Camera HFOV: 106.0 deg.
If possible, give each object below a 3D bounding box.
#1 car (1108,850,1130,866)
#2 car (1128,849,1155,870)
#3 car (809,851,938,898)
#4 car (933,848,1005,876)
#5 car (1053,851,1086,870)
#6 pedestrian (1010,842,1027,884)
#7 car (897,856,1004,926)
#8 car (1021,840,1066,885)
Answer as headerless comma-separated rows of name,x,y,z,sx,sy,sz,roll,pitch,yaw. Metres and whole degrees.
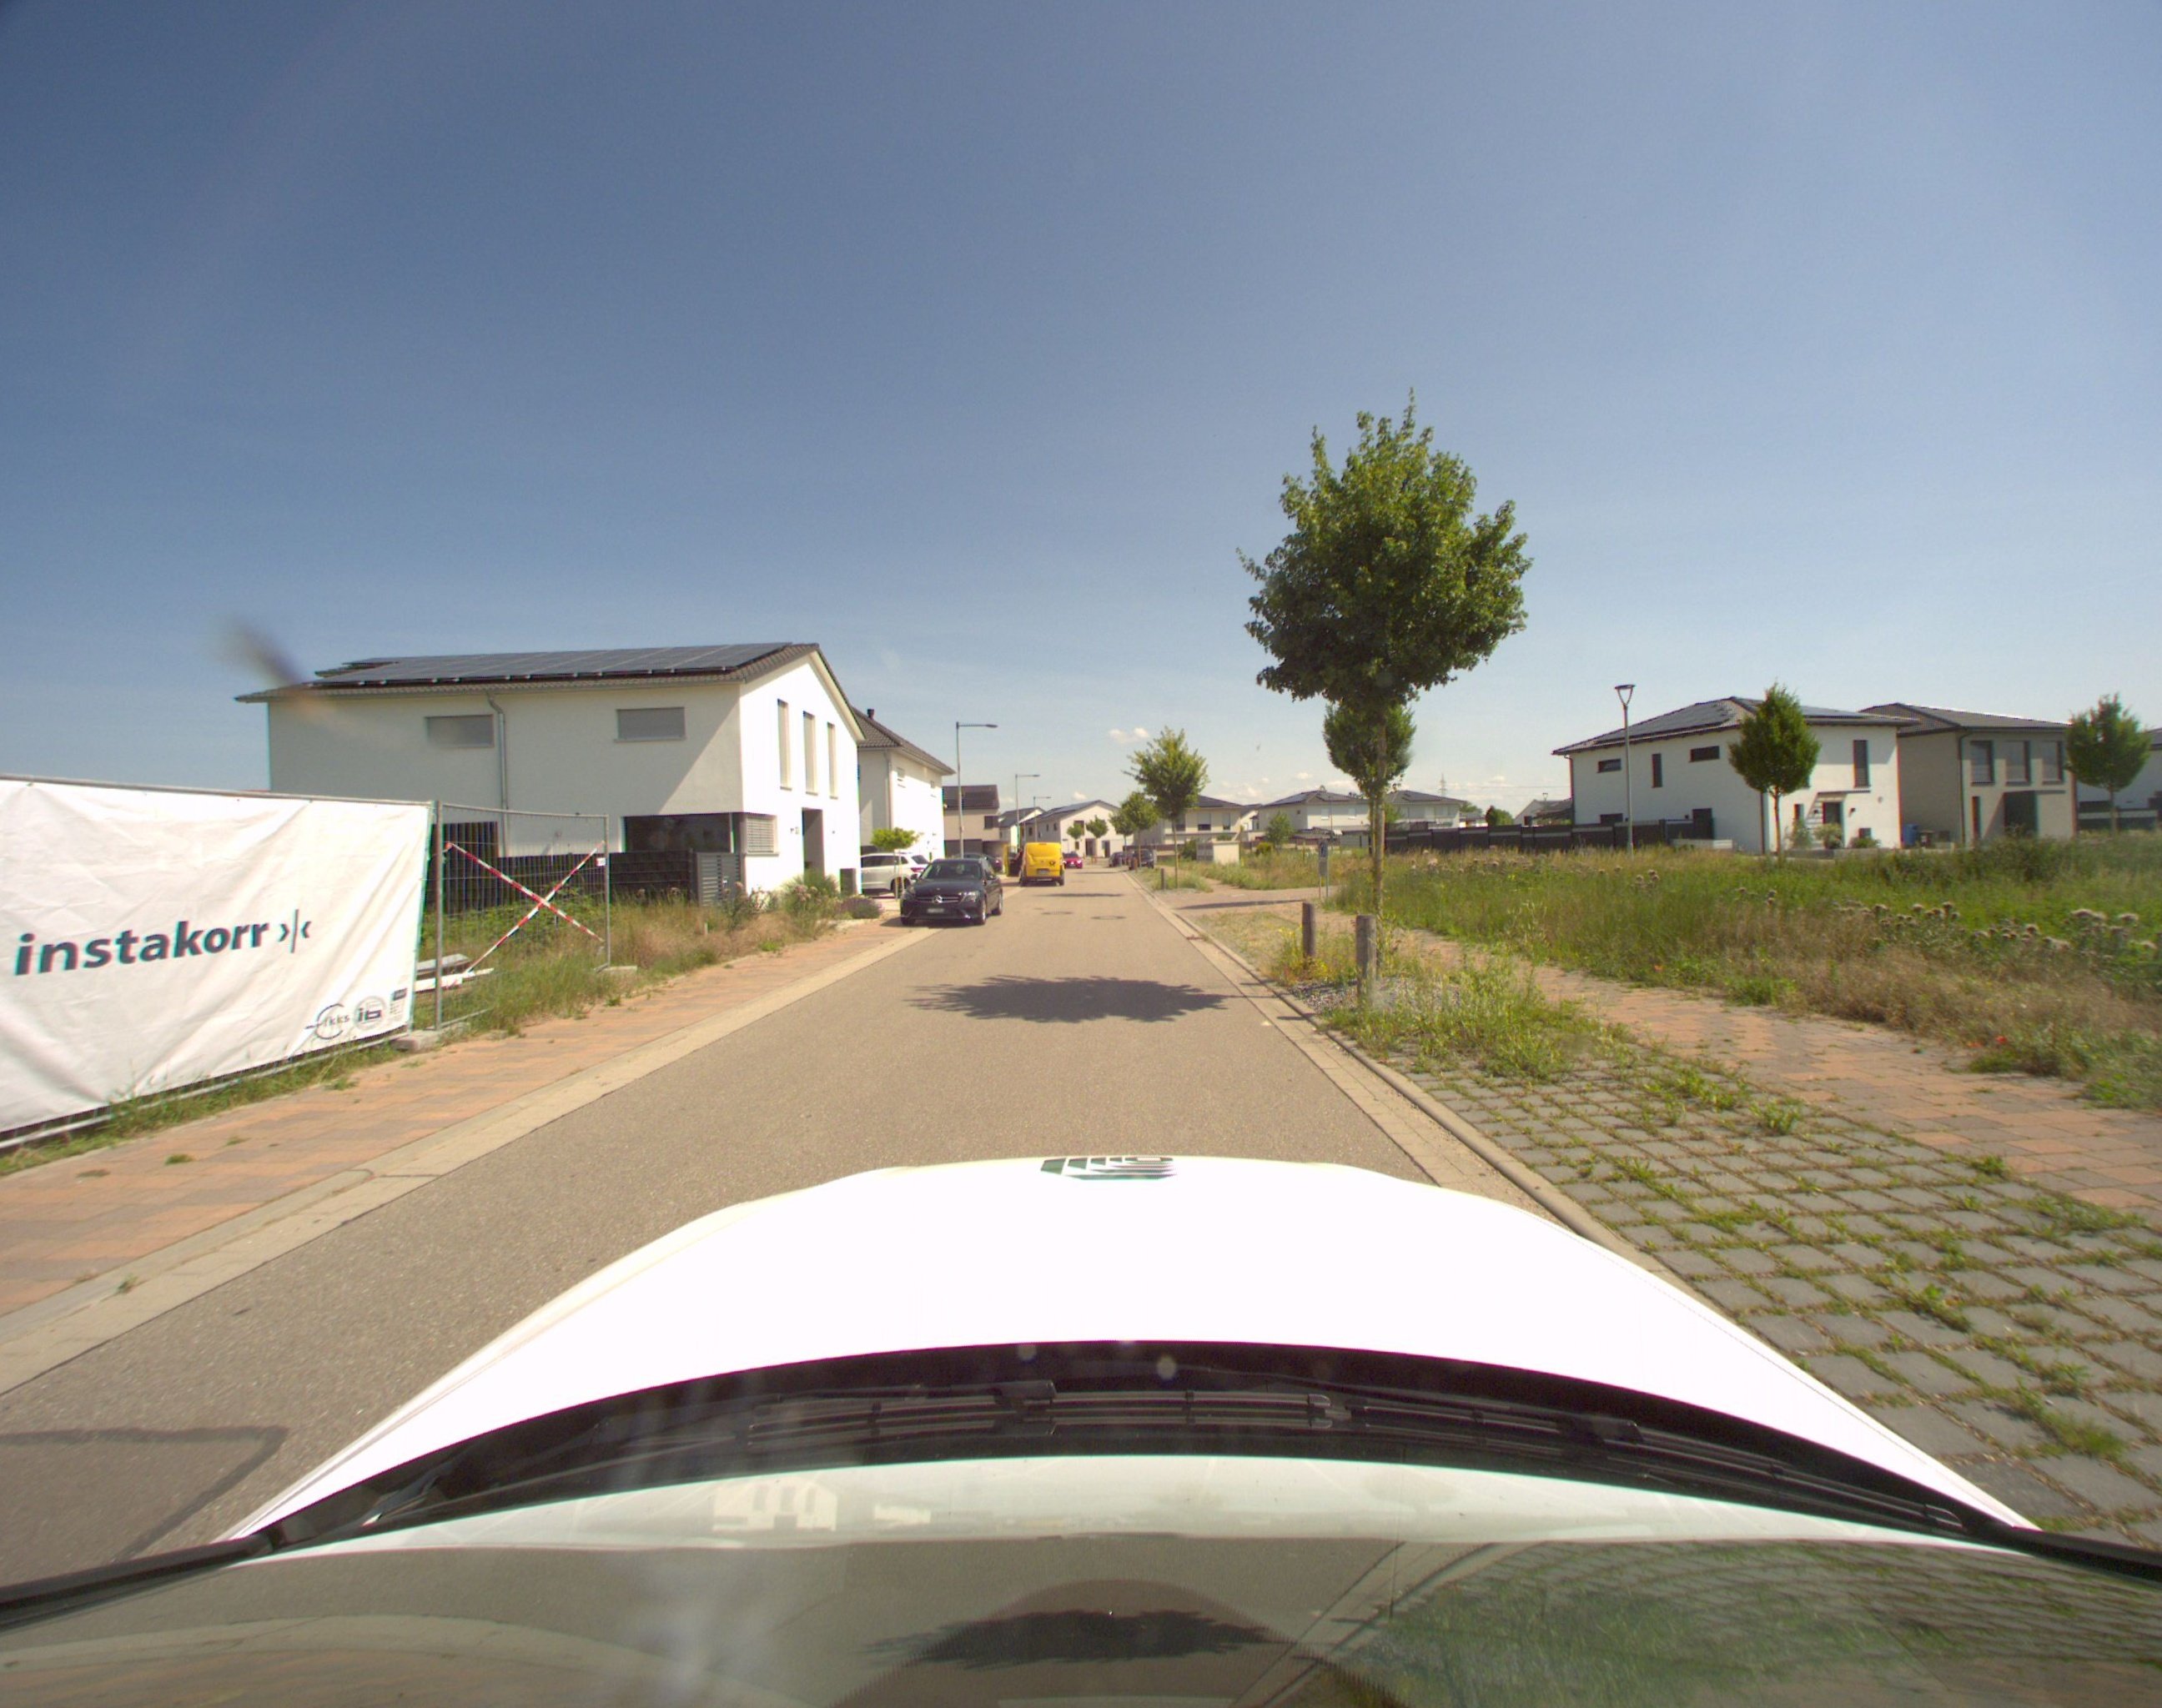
car,3.584,0.421,77.469,1.625,1.322,3.826,-2,-2,-5
car,4.338,0.389,58.839,1.634,1.403,3.810,-2,-1,0
car,-7.399,0.720,29.258,4.047,1.581,1.788,-1,1,6
car,-6.835,0.493,49.634,4.167,1.505,1.806,2,-1,-15
car,-1.064,0.547,72.408,1.996,1.431,4.681,-2,2,-13
pedestrian,-3.051,0.457,40.005,0.649,2.014,1.124,-2,-1,1
car,-2.899,0.774,18.957,1.739,1.405,4.160,0,0,1
car,-1.784,0.420,38.836,1.937,1.981,4.213,-2,-1,-3
